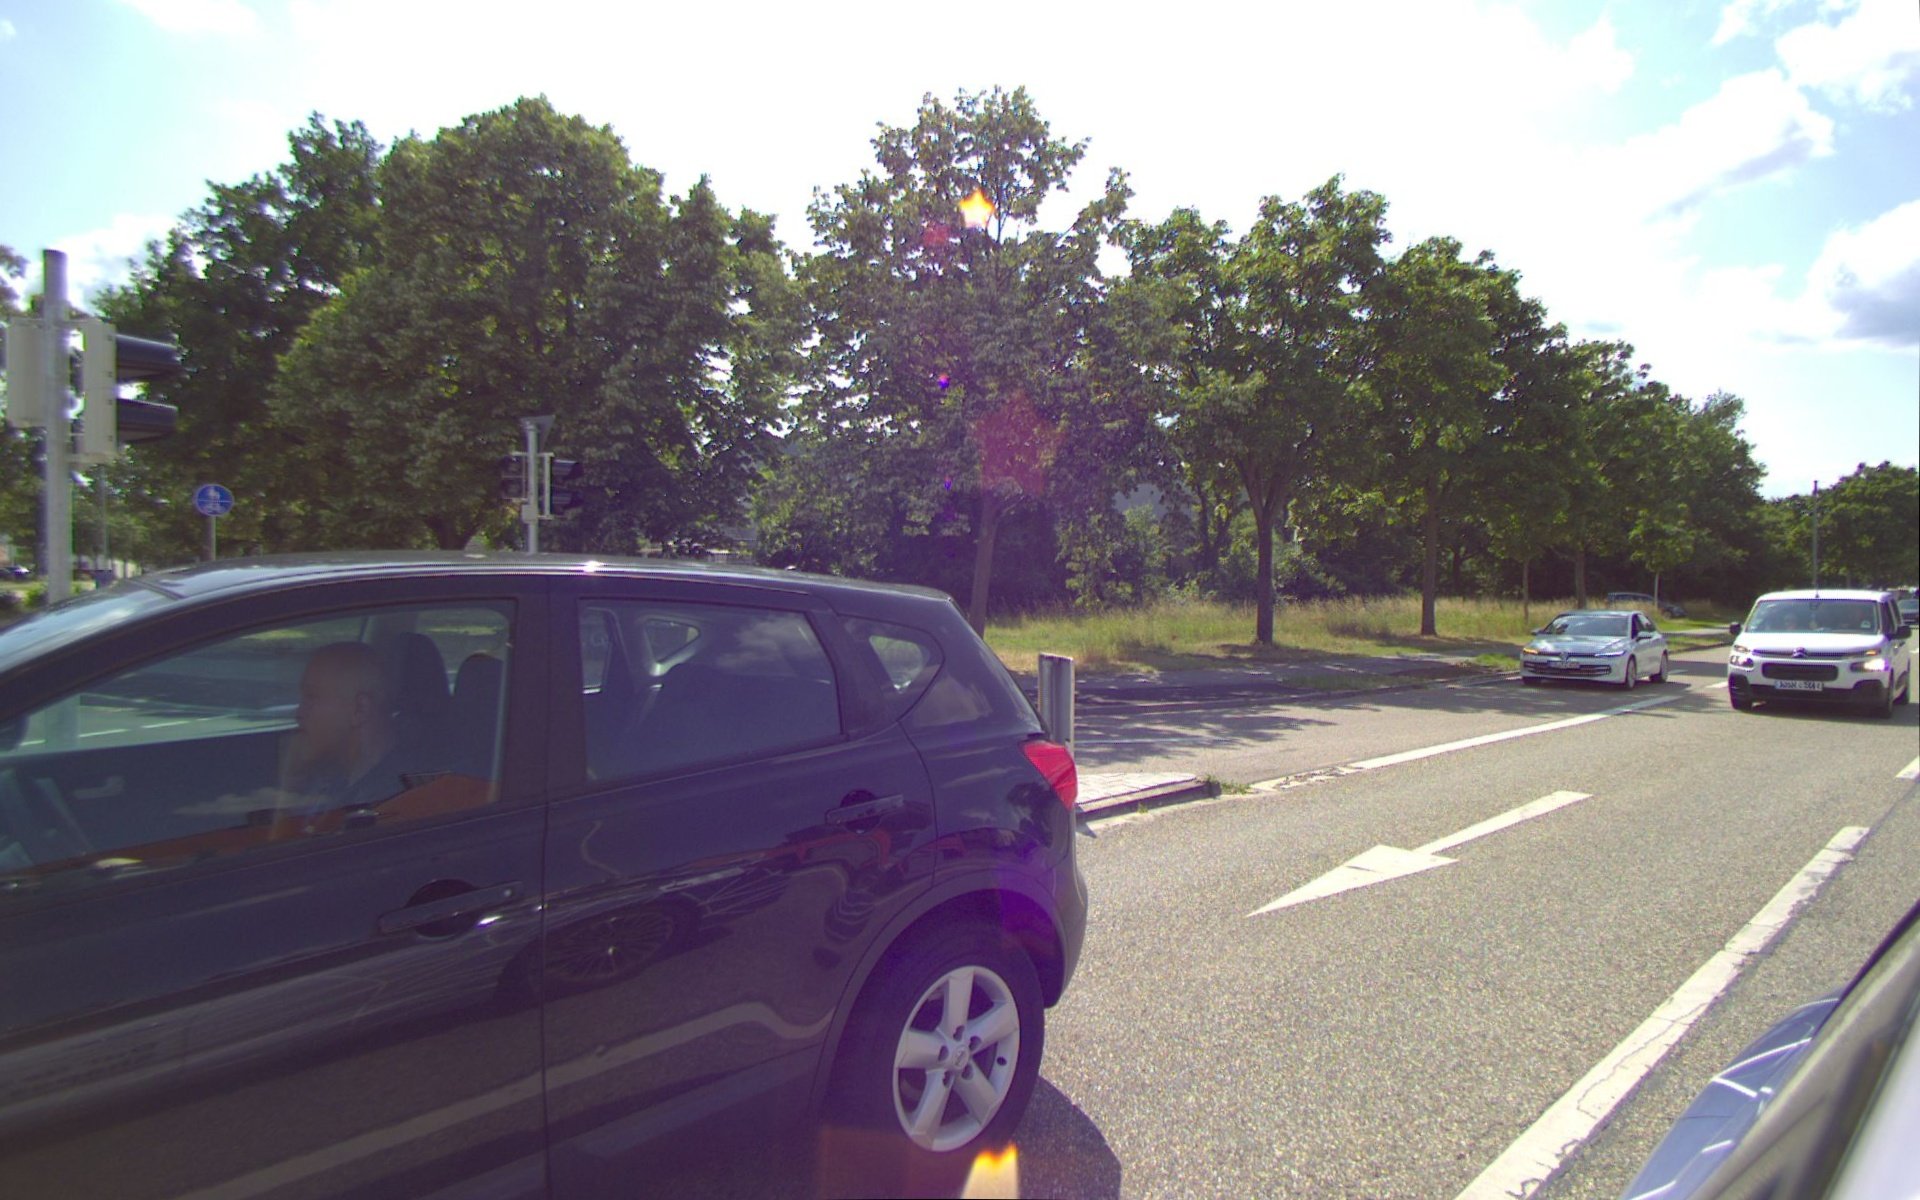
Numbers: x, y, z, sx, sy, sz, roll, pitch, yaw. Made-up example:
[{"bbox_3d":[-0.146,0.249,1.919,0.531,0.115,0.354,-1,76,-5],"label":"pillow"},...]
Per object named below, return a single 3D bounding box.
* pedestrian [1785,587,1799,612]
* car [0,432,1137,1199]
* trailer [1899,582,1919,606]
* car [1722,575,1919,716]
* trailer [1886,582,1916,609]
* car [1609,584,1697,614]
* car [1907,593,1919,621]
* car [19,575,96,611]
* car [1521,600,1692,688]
[{"bbox_3d":[61.197,-0.016,74.448,0.728,1.816,0.717,-1,-1,-45],"label":"pedestrian"},{"bbox_3d":[-1.562,0.578,2.213,3.933,1.572,1.801,-1,0,-43],"label":"car"},{"bbox_3d":[102.655,-0.699,108.919,4.704,2.393,1.996,-1,6,-45],"label":"trailer"},{"bbox_3d":[13.220,0.598,15.316,4.637,1.808,1.932,0,-1,-44],"label":"car"},{"bbox_3d":[87.993,-0.420,94.615,1.953,2.380,4.533,2,2,44],"label":"trailer"},{"bbox_3d":[42.128,-0.075,61.587,4.162,1.511,1.757,5,2,42],"label":"car"},{"bbox_3d":[55.047,0.345,57.210,3.930,1.509,1.757,-2,0,-41],"label":"car"},{"bbox_3d":[-32.362,-0.242,36.276,1.884,1.193,3.768,-1,0,-44],"label":"car"},{"bbox_3d":[12.448,0.759,19.390,4.021,1.505,1.735,0,0,-42],"label":"car"}]
